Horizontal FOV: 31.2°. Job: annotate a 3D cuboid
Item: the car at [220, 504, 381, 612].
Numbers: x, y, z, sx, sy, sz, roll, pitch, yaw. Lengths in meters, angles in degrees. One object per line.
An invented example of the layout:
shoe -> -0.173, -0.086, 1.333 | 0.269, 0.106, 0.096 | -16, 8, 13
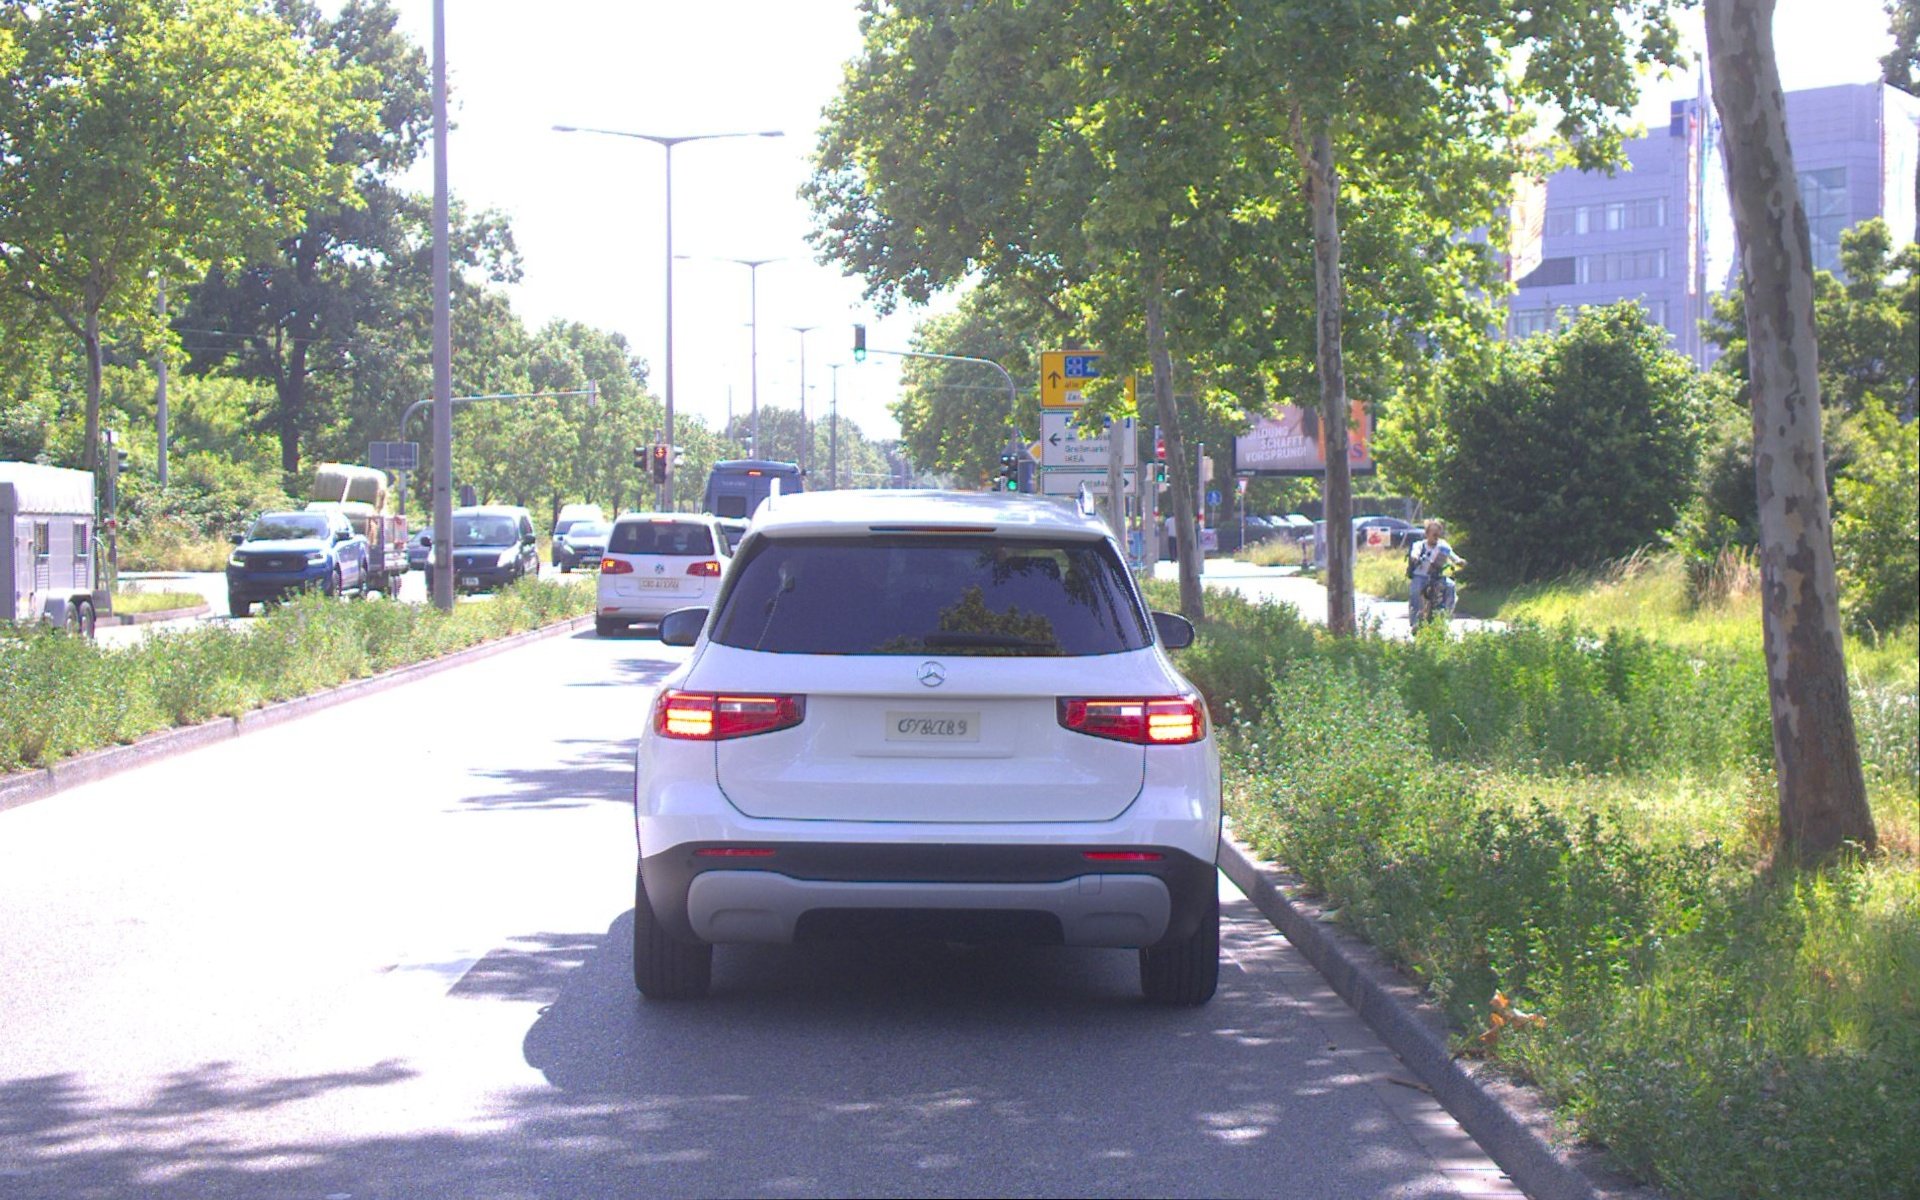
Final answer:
car -> -11.654, -0.760, 61.063 | 1.764, 1.783, 5.376 | 2, 1, 0

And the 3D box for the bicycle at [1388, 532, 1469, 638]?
bicycle -> 5.911, -0.203, 43.470 | 0.722, 1.294, 2.096 | 1, 1, 0

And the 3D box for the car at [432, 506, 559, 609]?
car -> -8.608, -0.806, 63.970 | 1.731, 1.803, 4.232 | 2, 1, 0

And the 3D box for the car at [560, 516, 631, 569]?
car -> -10.433, -1.647, 98.644 | 1.603, 1.467, 3.790 | 1, 1, 0

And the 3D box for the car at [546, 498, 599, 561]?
car -> -15.371, -2.823, 136.368 | 1.993, 2.410, 5.141 | 1, 1, -7

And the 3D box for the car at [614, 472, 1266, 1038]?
car -> -0.199, 0.410, 11.907 | 1.853, 1.602, 4.001 | 1, 1, -4

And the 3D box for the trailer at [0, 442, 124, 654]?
trailer -> -11.403, -0.614, 39.373 | 2.309, 2.257, 5.538 | 0, 1, 0

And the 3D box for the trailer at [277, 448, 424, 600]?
trailer -> -11.651, -1.451, 65.984 | 1.880, 2.734, 4.829 | 2, 1, 0

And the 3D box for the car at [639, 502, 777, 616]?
car -> -3.808, -0.647, 52.510 | 1.771, 1.641, 4.085 | 1, 1, 0

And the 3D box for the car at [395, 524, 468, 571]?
car -> -15.885, -1.593, 103.497 | 1.701, 1.360, 3.646 | 1, 1, -1

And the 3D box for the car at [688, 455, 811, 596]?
car -> -4.157, -1.481, 68.544 | 2.081, 2.647, 4.874 | 2, 1, 0

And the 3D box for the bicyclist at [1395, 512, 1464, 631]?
bicyclist -> 5.933, -0.370, 43.463 | 0.704, 1.472, 1.010 | 1, 1, 0

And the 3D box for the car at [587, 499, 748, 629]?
car -> -3.894, -0.503, 46.389 | 1.771, 1.641, 4.352 | 1, 1, 0
